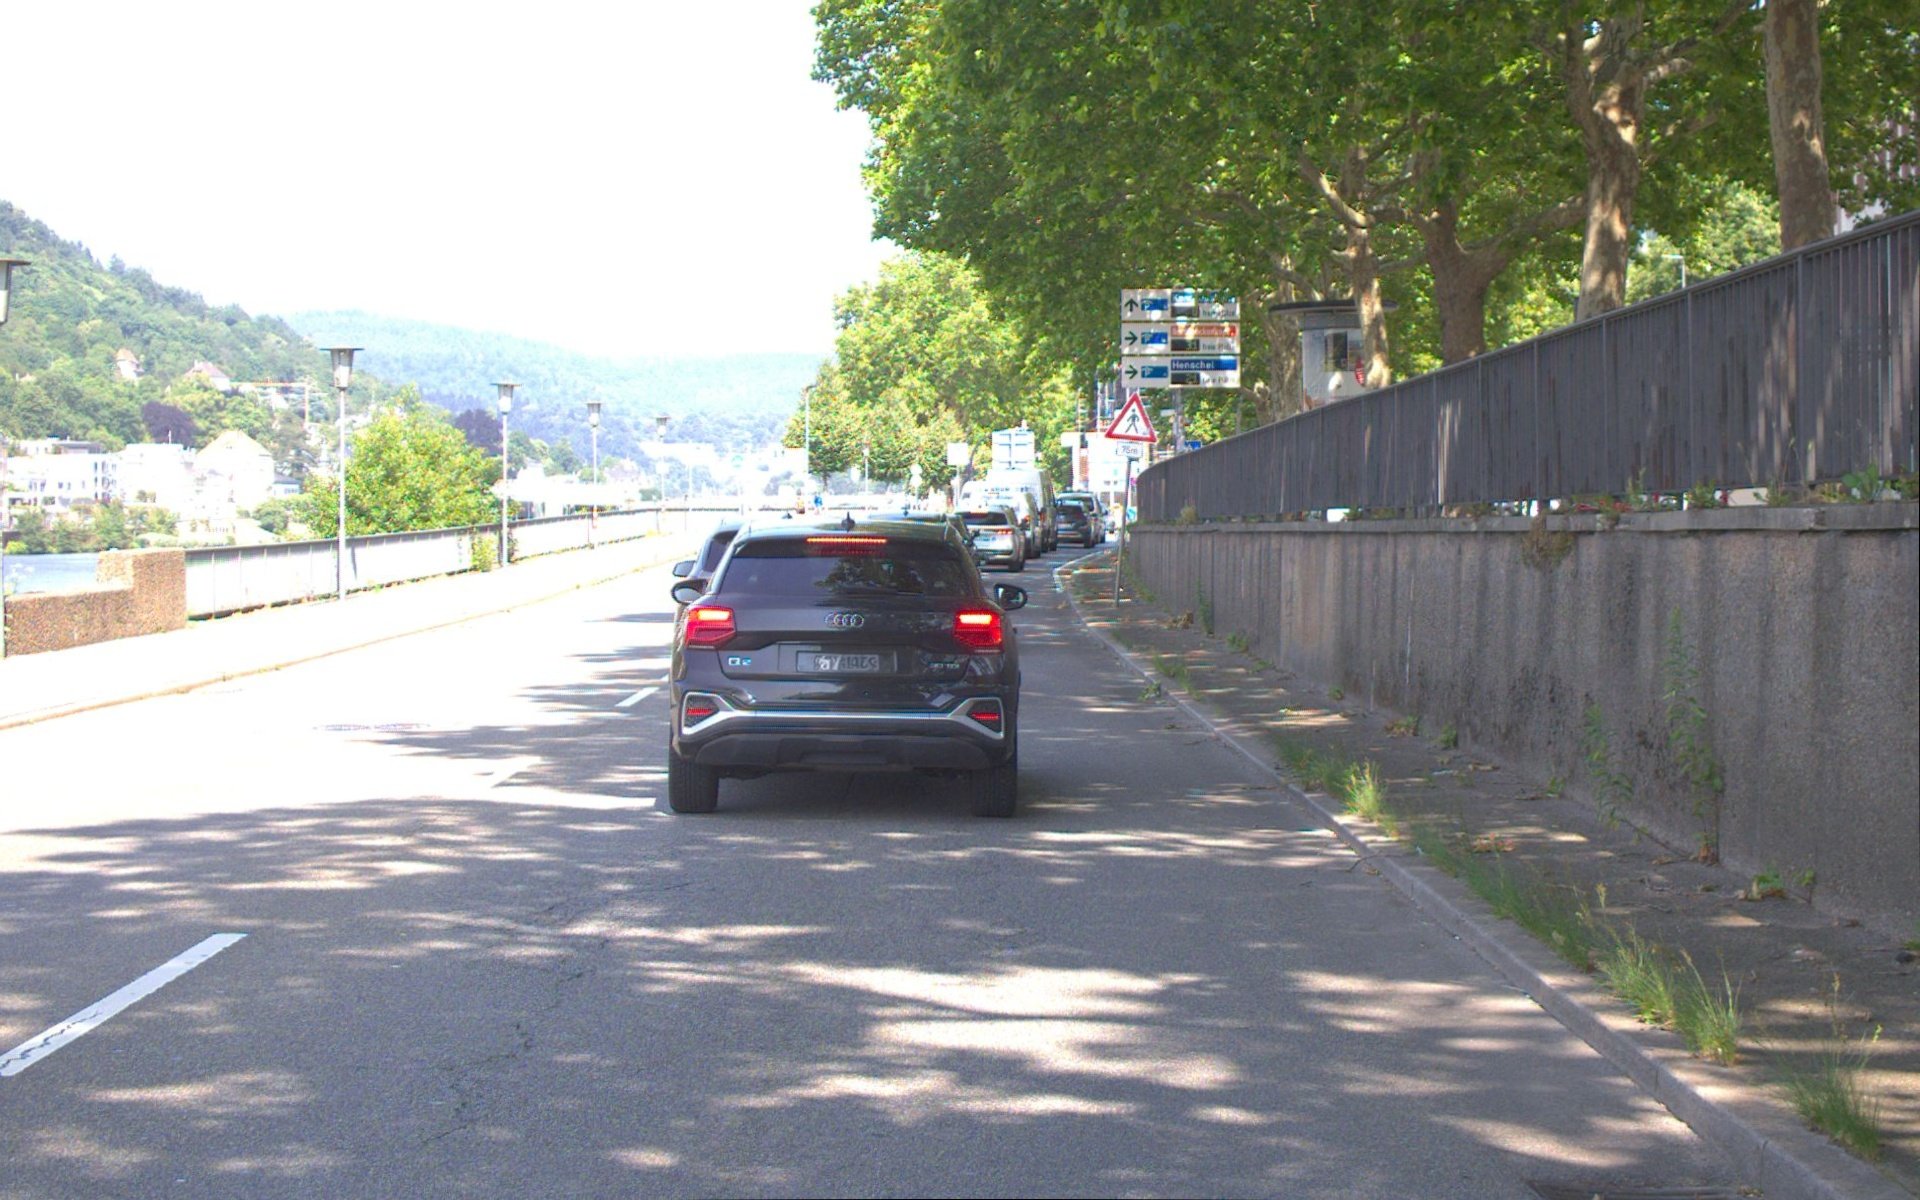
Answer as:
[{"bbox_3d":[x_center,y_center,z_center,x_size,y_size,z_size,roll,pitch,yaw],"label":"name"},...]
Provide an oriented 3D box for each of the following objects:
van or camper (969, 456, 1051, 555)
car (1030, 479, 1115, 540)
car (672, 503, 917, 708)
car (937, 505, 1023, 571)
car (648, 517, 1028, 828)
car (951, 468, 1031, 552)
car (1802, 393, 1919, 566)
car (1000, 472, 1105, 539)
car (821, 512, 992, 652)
[{"bbox_3d":[1.522,-2.852,103.949,2.310,2.837,4.246,-3,1,1],"label":"van or camper"},{"bbox_3d":[4.003,-3.252,123.766,2.661,2.006,5.825,-3,2,-1],"label":"car"},{"bbox_3d":[-1.323,-0.007,28.694,1.828,1.506,4.000,-3,1,-1],"label":"car"},{"bbox_3d":[0.422,-1.420,77.776,1.828,1.439,4.001,1,2,-1],"label":"car"},{"bbox_3d":[-0.632,0.306,18.708,1.828,1.481,4.001,1,2,-1],"label":"car"},{"bbox_3d":[0.830,-2.489,95.026,1.993,2.162,4.000,-3,1,-1],"label":"car"},{"bbox_3d":[8.984,-1.060,30.956,1.777,1.464,3.994,1,2,28],"label":"car"},{"bbox_3d":[3.022,-3.124,113.699,3.098,2.006,5.825,-3,2,-1],"label":"car"},{"bbox_3d":[-0.619,-0.246,39.118,1.828,1.481,4.001,1,2,-1],"label":"car"}]
